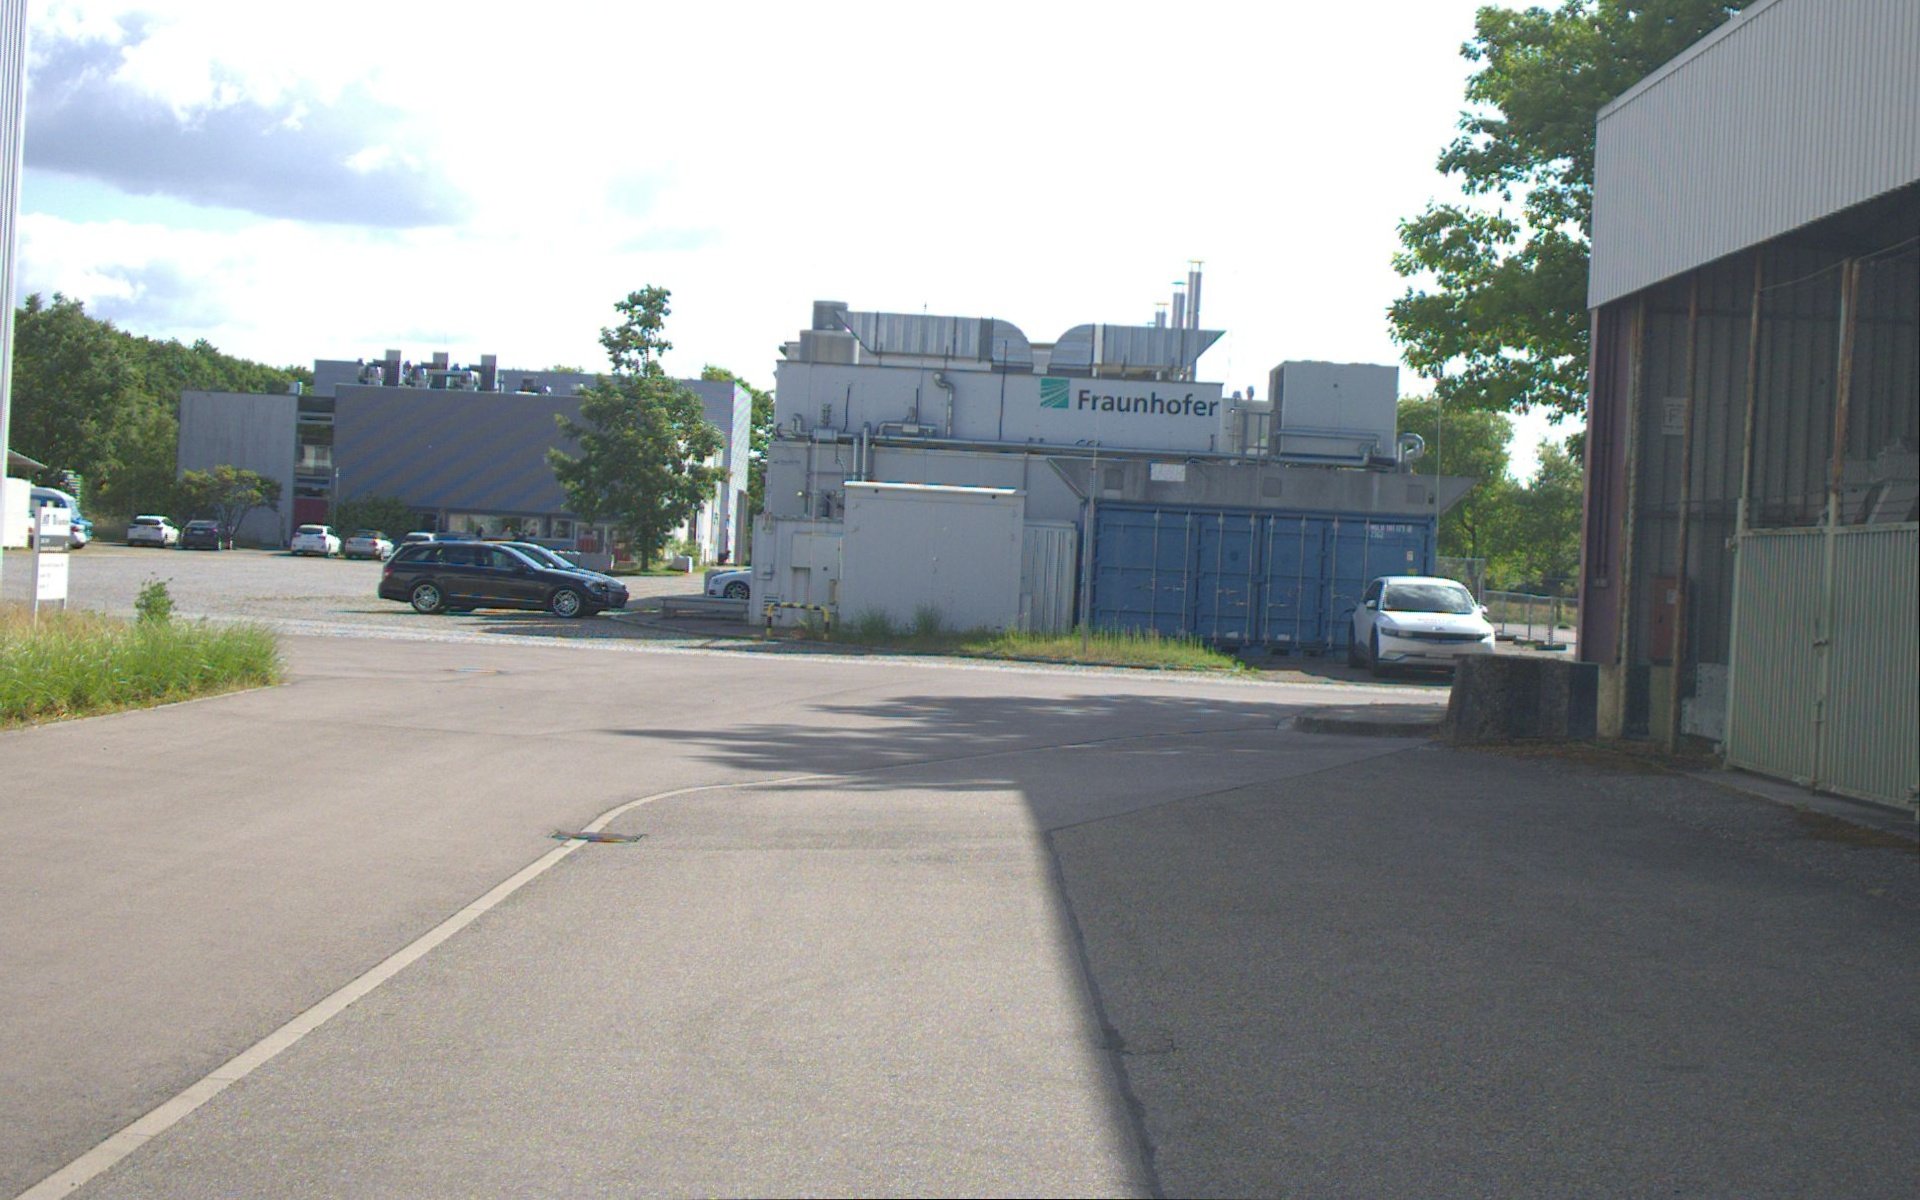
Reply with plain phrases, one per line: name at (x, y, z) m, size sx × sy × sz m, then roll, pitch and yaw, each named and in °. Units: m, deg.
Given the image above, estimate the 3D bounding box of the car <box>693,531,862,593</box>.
car at (-5.062, -1.064, 95.989) m, size 4.526 × 1.503 × 1.909 m, roll 2°, pitch 1°, yaw 1°

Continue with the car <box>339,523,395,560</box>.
car at (-28.505, -2.808, 165.281) m, size 1.993 × 1.730 × 4.000 m, roll 1°, pitch 0°, yaw -1°

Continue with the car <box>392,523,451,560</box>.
car at (-25.919, -2.798, 165.612) m, size 2.193 × 1.730 × 4.000 m, roll 1°, pitch 0°, yaw -1°

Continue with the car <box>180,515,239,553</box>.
car at (-36.032, -3.148, 165.166) m, size 1.993 × 1.730 × 4.000 m, roll 1°, pitch 0°, yaw -1°

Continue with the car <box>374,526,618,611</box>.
car at (-9.204, -0.630, 68.412) m, size 4.526 × 1.503 × 1.909 m, roll 2°, pitch 1°, yaw 2°

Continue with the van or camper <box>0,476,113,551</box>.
van or camper at (-38.171, -3.598, 142.018) m, size 5.714 × 2.918 × 2.474 m, roll 2°, pitch 1°, yaw -2°

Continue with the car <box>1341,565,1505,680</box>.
car at (7.433, 0.331, 55.584) m, size 1.993 × 1.580 × 4.173 m, roll 2°, pitch 2°, yaw -1°

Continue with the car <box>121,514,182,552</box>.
car at (-38.838, -3.195, 165.234) m, size 1.993 × 1.730 × 4.000 m, roll 1°, pitch 0°, yaw -1°

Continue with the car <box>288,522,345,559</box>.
car at (-31.002, -2.852, 165.643) m, size 1.993 × 1.730 × 4.000 m, roll 1°, pitch 0°, yaw -1°

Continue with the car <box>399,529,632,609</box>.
car at (-9.240, -0.652, 71.649) m, size 4.526 × 1.503 × 1.909 m, roll 2°, pitch 1°, yaw 2°
